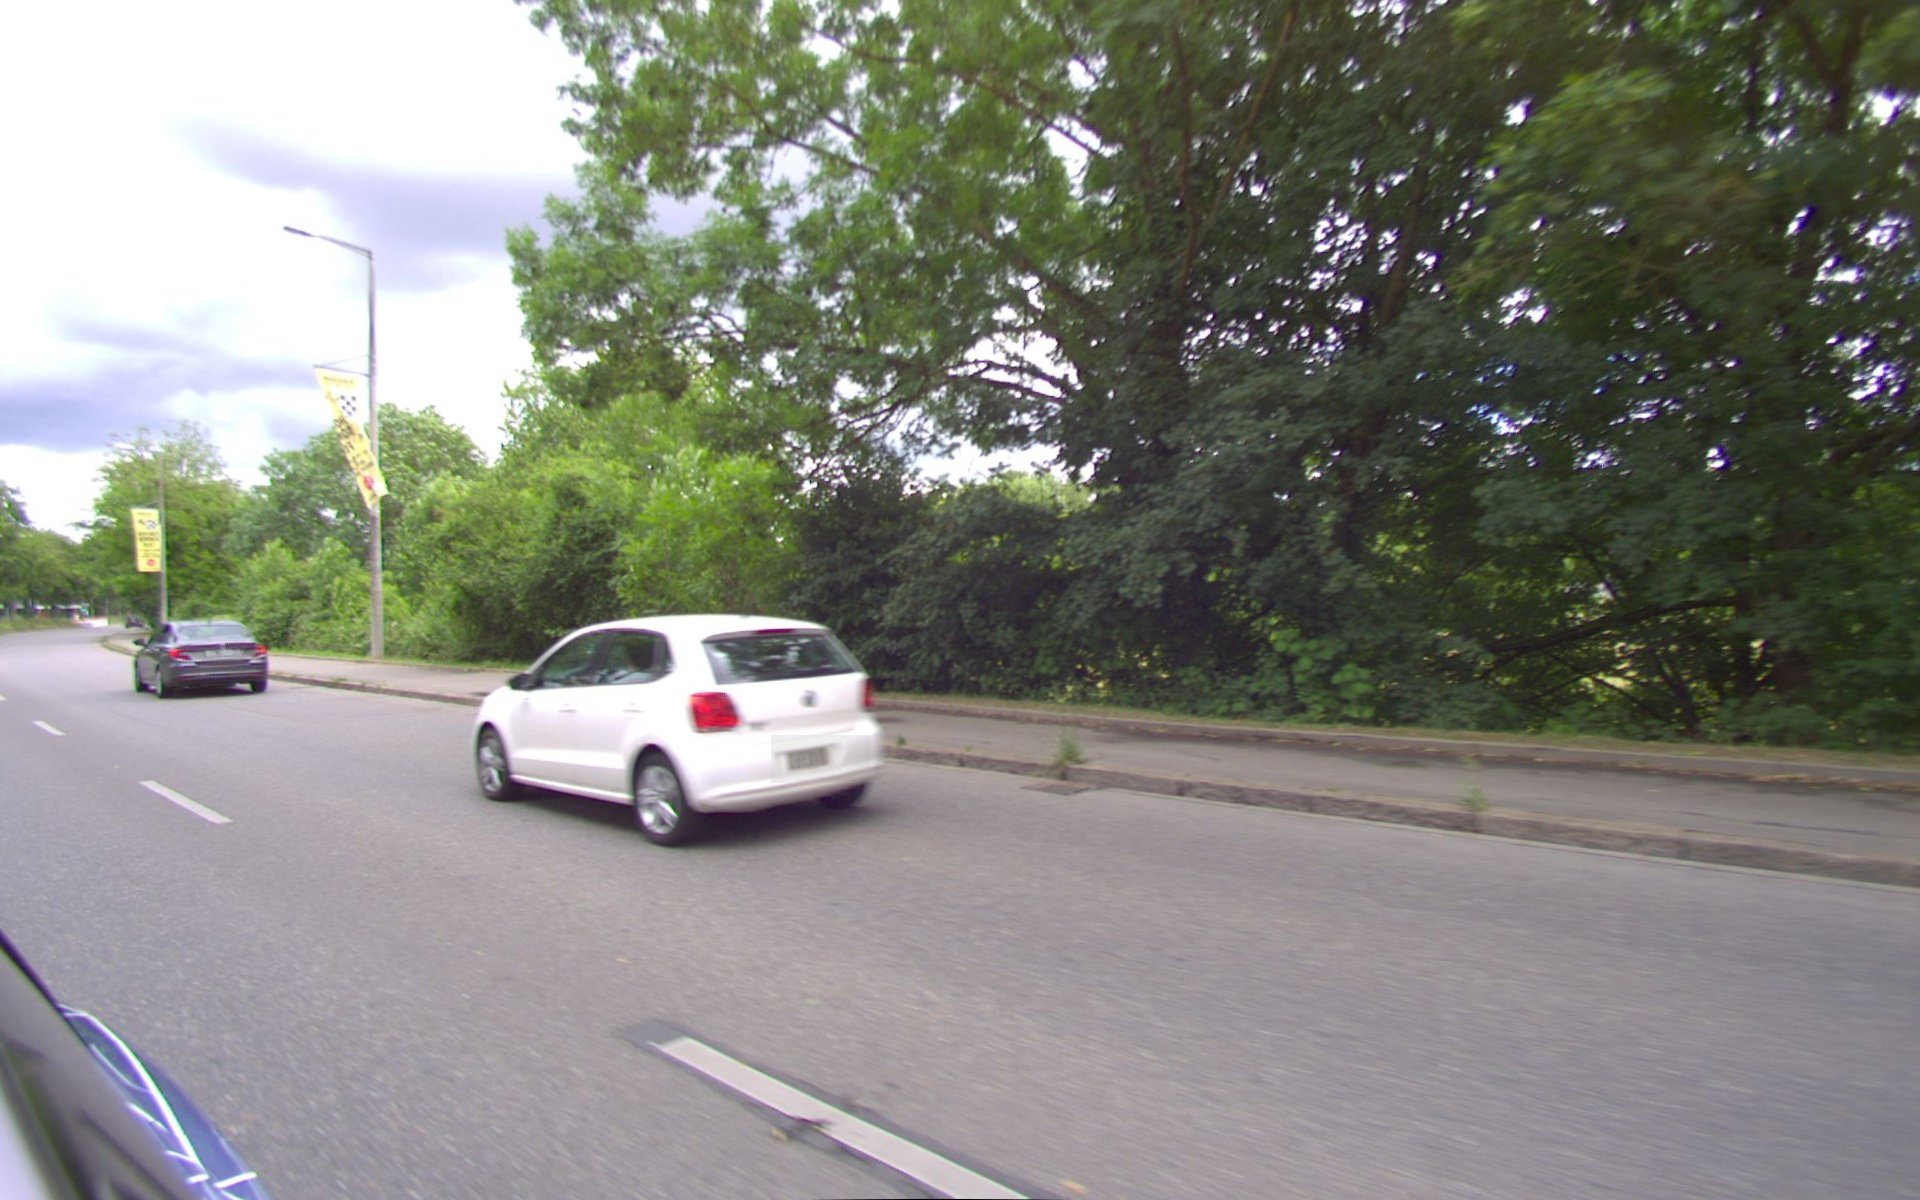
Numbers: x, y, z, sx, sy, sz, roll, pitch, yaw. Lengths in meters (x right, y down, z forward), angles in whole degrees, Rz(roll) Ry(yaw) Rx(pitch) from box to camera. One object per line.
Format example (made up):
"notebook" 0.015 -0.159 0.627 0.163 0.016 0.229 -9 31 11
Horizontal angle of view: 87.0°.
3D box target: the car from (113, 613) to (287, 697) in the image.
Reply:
"car" -15.668 1.047 20.790 4.277 1.516 1.973 -1 0 40

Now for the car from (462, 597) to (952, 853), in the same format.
"car" -2.103 0.722 7.718 3.999 1.439 1.706 -1 0 42

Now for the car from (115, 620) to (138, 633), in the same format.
"car" -101.647 3.162 123.435 1.771 1.420 4.009 -3 1 -36
